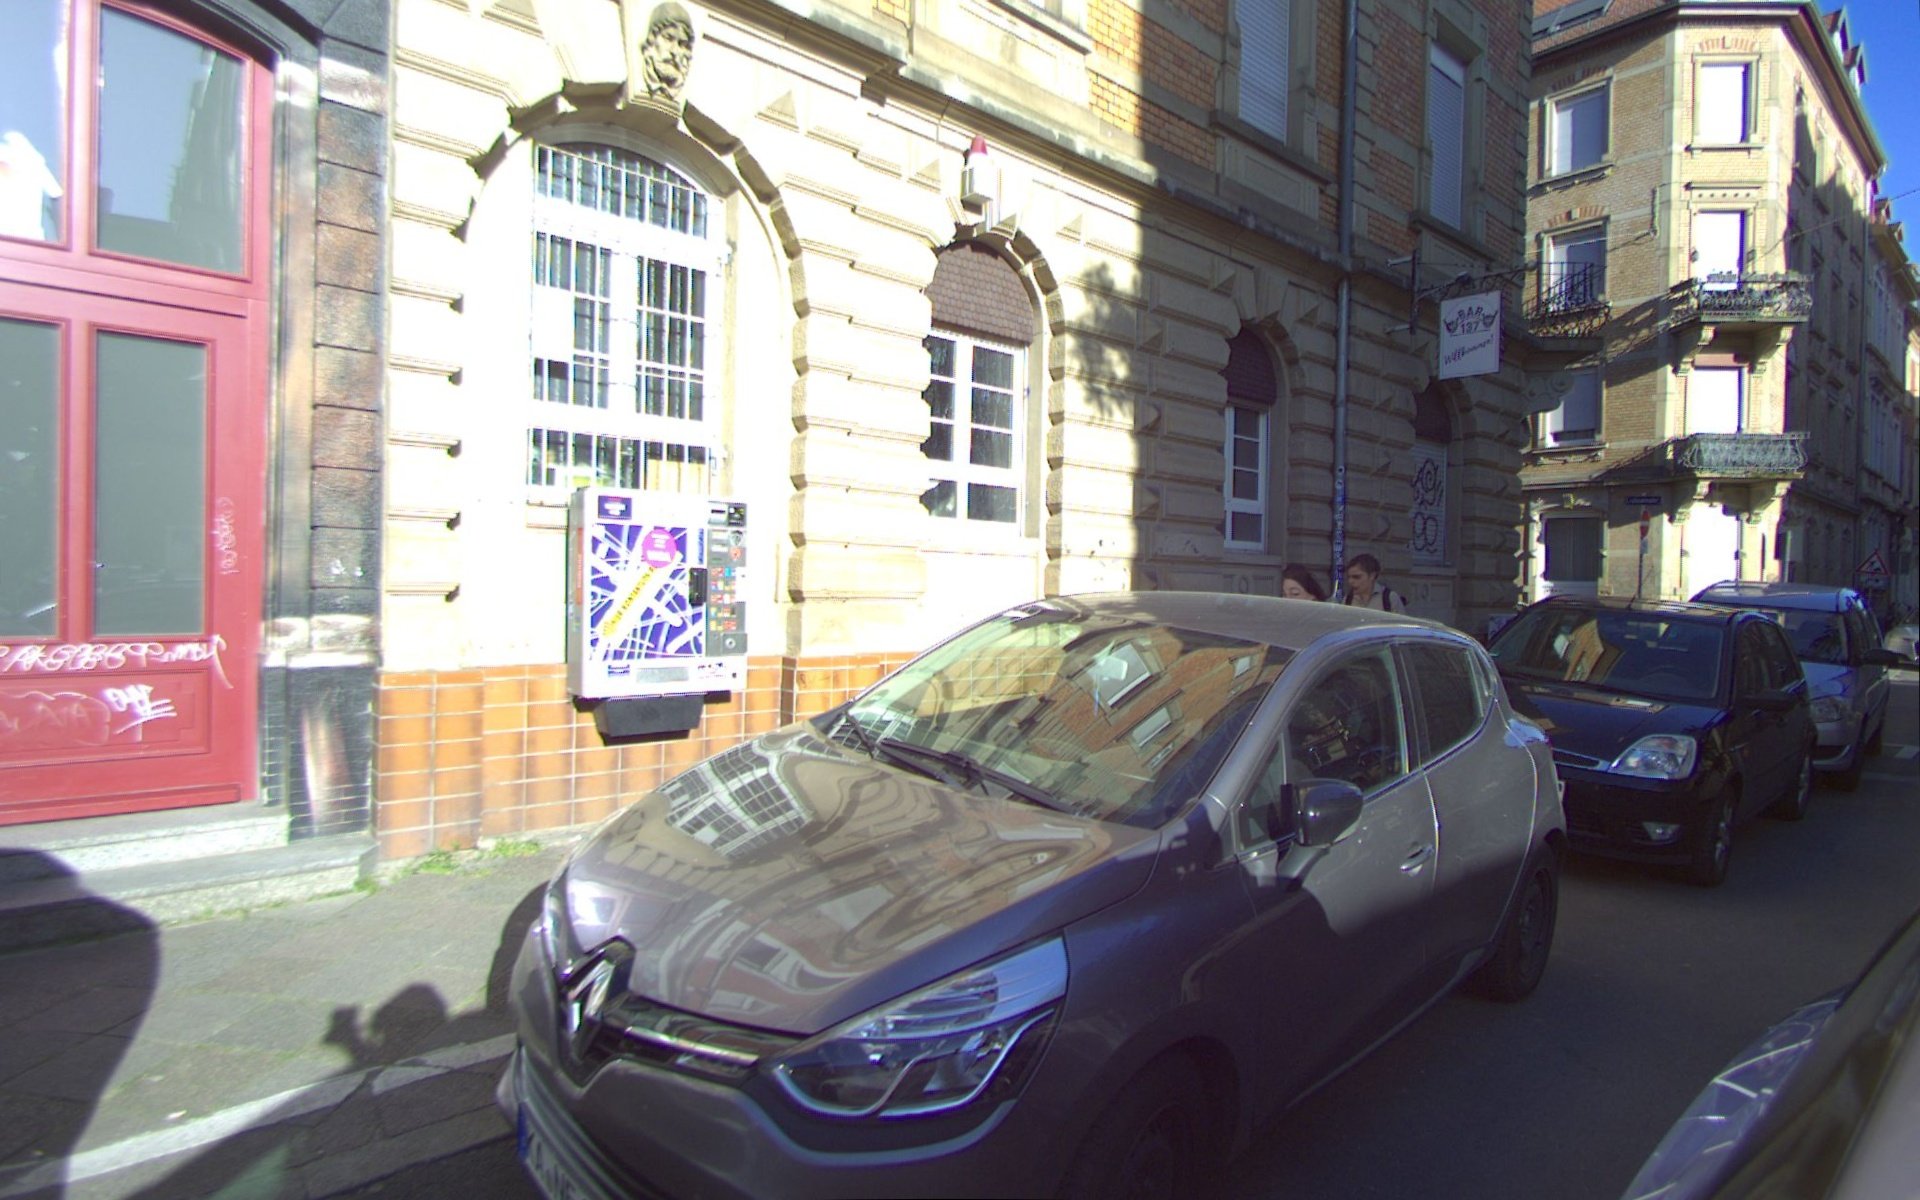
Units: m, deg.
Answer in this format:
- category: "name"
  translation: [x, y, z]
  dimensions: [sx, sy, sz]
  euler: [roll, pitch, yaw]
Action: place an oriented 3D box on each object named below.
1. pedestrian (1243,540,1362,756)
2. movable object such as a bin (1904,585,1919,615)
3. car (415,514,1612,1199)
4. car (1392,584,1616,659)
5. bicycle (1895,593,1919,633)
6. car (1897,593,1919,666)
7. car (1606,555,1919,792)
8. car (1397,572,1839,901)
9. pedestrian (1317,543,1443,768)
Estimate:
- category: "pedestrian"
  translation: [2.759, 0.355, 8.144]
  dimensions: [0.722, 1.642, 0.575]
  euler: [1, 1, -43]
- category: "movable object such as a bin"
  translation: [35.418, 0.008, 37.235]
  dimensions: [0.710, 1.074, 0.897]
  euler: [0, 4, -43]
- category: "car"
  translation: [0.624, 0.675, 3.170]
  dimensions: [3.844, 1.545, 1.573]
  euler: [0, -1, -45]
- category: "car"
  translation: [12.489, 0.420, 23.415]
  dimensions: [4.242, 1.489, 1.741]
  euler: [2, 2, 44]
- category: "bicycle"
  translation: [32.838, 0.435, 34.806]
  dimensions: [1.662, 1.319, 0.729]
  euler: [0, 4, -40]
- category: "car"
  translation: [21.524, 0.590, 21.614]
  dimensions: [4.431, 1.477, 1.709]
  euler: [0, 0, -40]
- category: "car"
  translation: [7.560, 0.512, 9.361]
  dimensions: [3.871, 1.735, 1.706]
  euler: [0, 2, -43]
- category: "car"
  translation: [4.421, 0.630, 6.587]
  dimensions: [3.619, 1.532, 1.537]
  euler: [0, 2, -43]
- category: "pedestrian"
  translation: [3.223, 0.394, 7.757]
  dimensions: [0.715, 1.624, 0.591]
  euler: [1, 1, -43]
